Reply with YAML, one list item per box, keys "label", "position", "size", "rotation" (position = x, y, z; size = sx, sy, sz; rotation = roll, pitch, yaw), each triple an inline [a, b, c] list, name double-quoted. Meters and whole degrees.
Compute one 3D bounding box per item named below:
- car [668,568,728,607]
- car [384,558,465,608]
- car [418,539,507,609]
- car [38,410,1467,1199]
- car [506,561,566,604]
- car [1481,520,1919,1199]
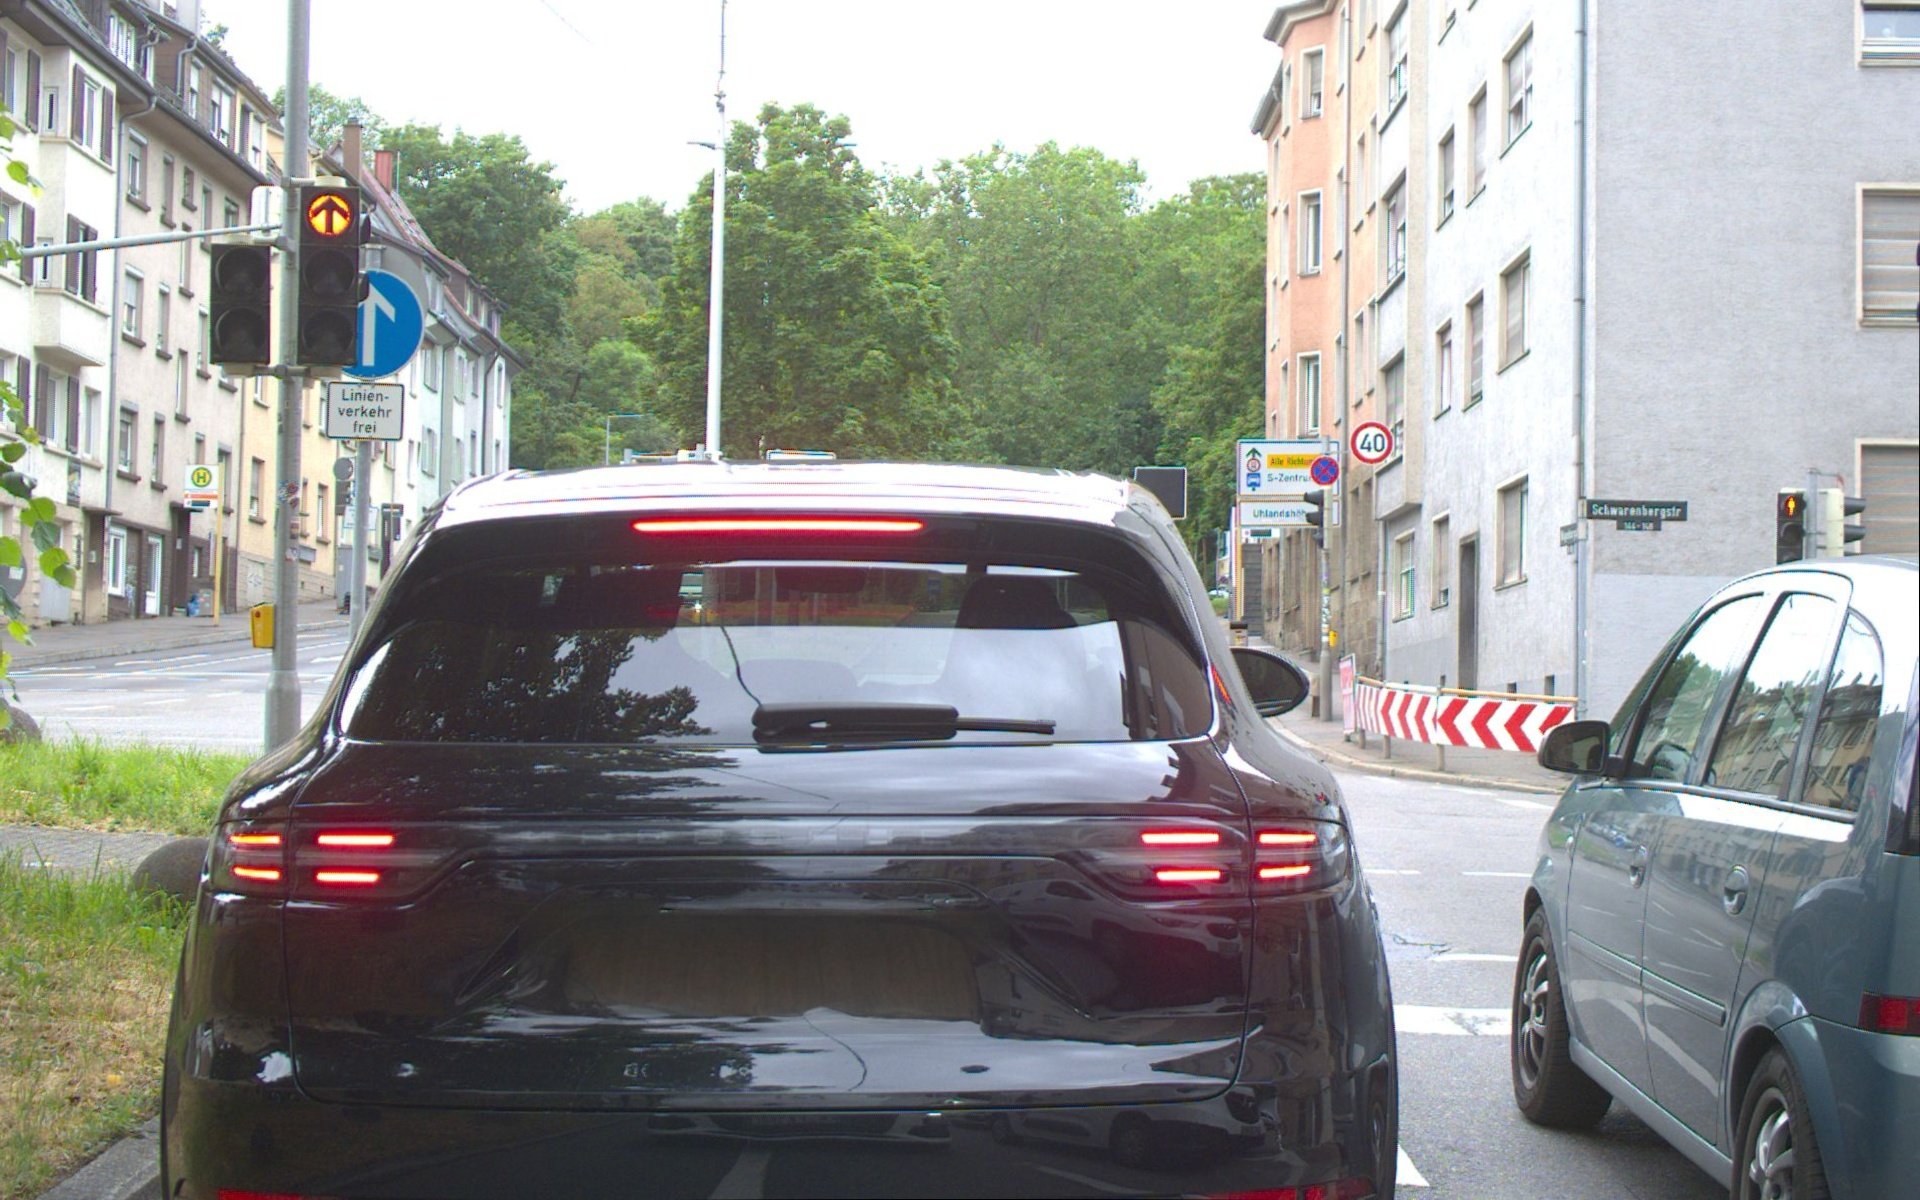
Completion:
- label: "car"
  position: [-9.523, -0.471, 124.988]
  size: [1.862, 1.383, 4.094]
  rotation: [1, 1, 0]
- label: "car"
  position: [-15.418, -0.501, 99.055]
  size: [1.739, 1.382, 3.814]
  rotation: [1, 1, 0]
- label: "car"
  position: [-15.035, -0.784, 104.176]
  size: [2.016, 2.038, 4.667]
  rotation: [1, 1, 0]
- label: "car"
  position: [-0.307, 0.557, 6.713]
  size: [1.955, 1.669, 4.000]
  rotation: [0, 1, -1]
- label: "car"
  position: [-15.404, -0.637, 124.970]
  size: [1.689, 1.533, 3.814]
  rotation: [1, 1, 0]
- label: "car"
  position: [2.357, 0.690, 7.880]
  size: [1.628, 1.592, 3.669]
  rotation: [4, 0, -1]
